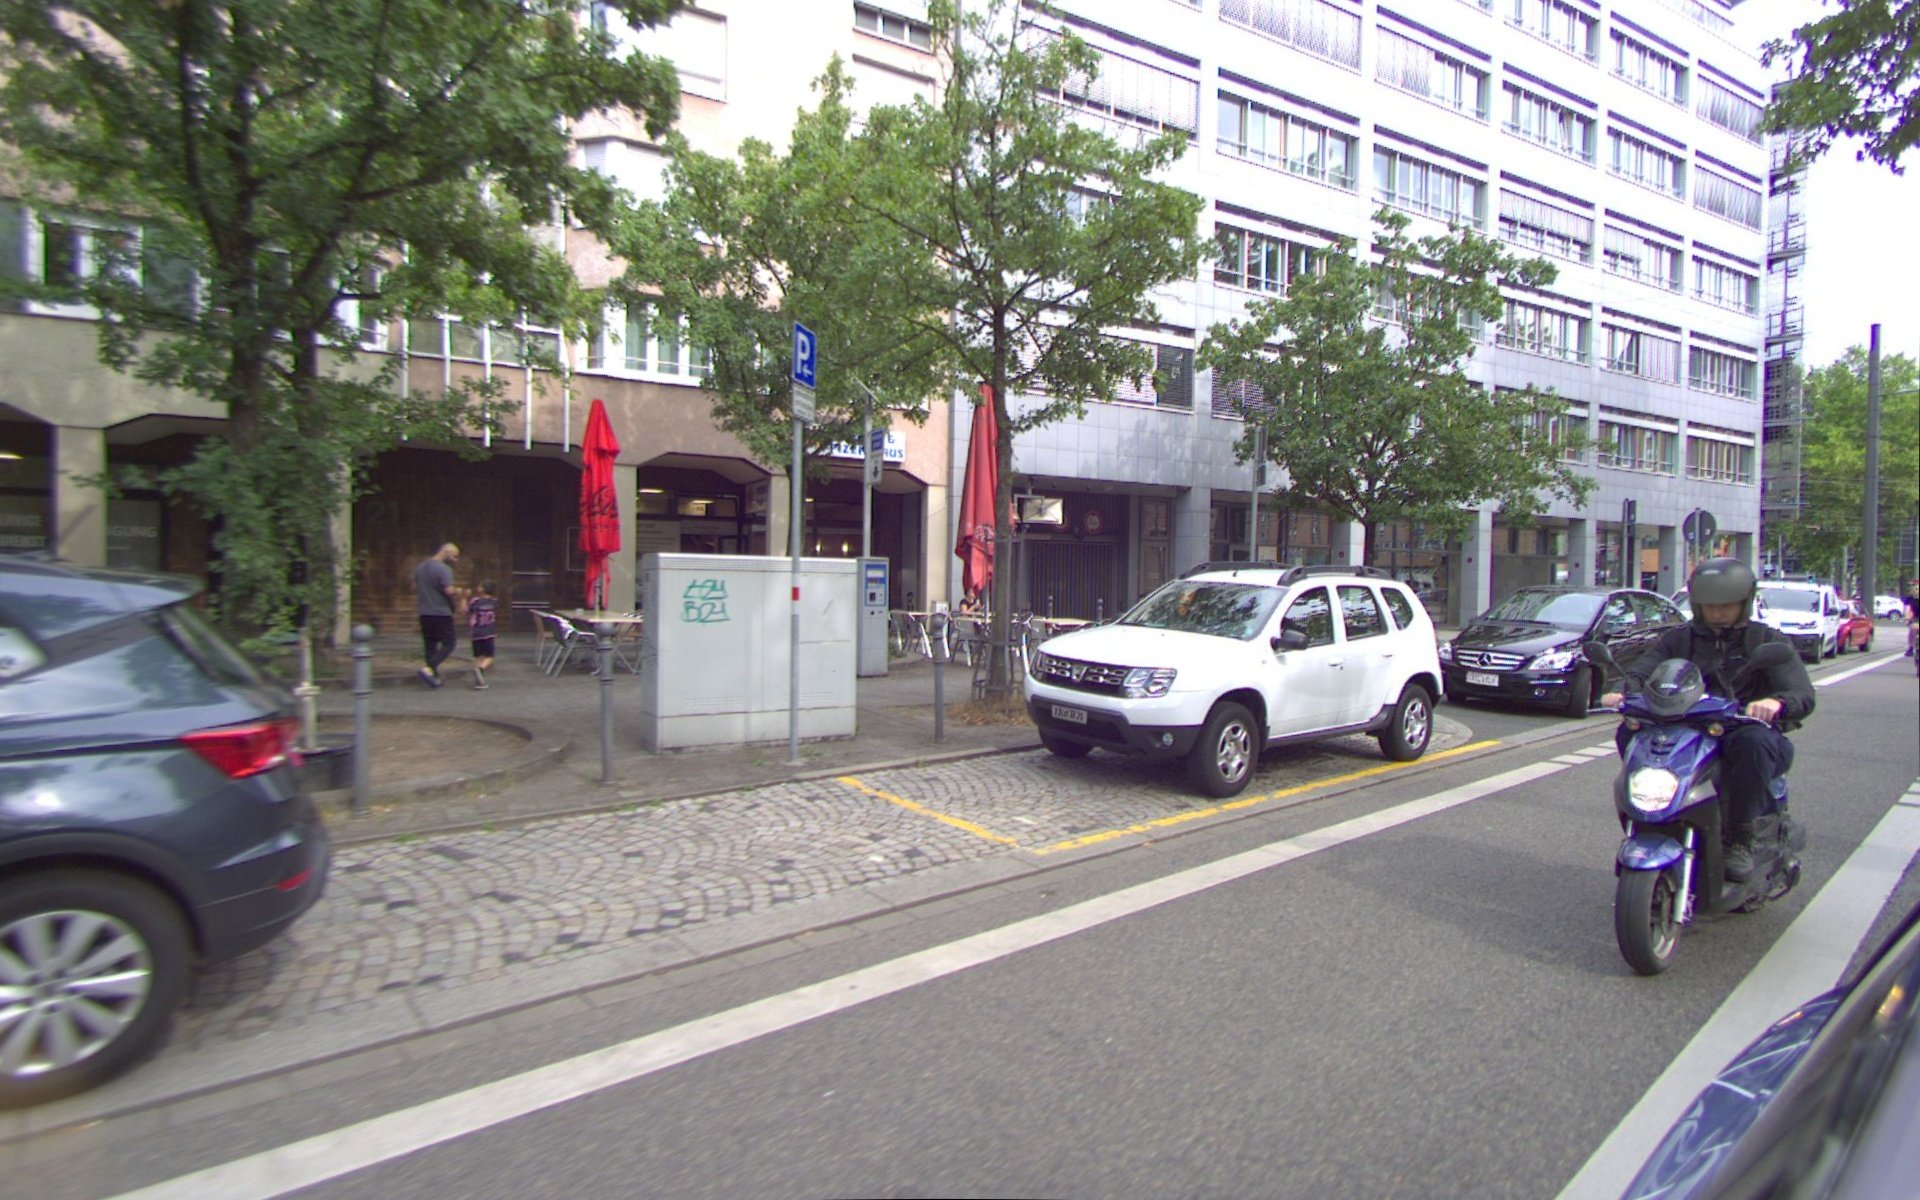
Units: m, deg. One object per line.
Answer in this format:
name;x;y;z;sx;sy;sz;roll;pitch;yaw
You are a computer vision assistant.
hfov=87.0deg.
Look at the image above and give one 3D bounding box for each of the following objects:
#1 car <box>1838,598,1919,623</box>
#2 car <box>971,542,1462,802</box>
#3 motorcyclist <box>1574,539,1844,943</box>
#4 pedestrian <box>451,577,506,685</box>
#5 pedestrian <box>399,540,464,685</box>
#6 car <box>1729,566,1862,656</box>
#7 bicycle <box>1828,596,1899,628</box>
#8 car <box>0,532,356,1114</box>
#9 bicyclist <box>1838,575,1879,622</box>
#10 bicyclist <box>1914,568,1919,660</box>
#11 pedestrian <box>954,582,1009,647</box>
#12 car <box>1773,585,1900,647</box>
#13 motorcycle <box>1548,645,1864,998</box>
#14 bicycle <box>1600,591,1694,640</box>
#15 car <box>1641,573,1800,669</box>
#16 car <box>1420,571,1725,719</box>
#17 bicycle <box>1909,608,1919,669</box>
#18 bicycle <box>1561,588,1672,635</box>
car;64.744;0.722;70.820;4.582;1.682;1.951;0;0;21
car;2.282;0.429;8.512;4.087;1.673;1.867;0;2;-38
motorcyclist;3.303;0.517;4.457;1.000;1.538;0.760;-1;2;-43
pedestrian;-5.456;0.343;11.488;0.447;1.191;0.518;1;1;-12
pedestrian;-5.942;0.131;11.395;0.470;1.589;0.518;1;1;-5
car;19.884;0.215;24.028;4.570;1.887;1.829;0;3;-44
bicycle;35.241;0.443;39.493;0.711;1.153;1.909;1;2;-23
car;-4.037;0.556;2.487;4.132;1.537;1.718;0;3;-42
bicyclist;35.184;-0.067;39.636;0.704;1.786;0.918;1;1;-23
bicyclist;19.169;0.276;19.804;1.017;1.790;0.591;0;1;-41
pedestrian;0.402;0.266;18.974;0.685;1.171;0.824;1;1;-29
car;24.034;0.409;27.703;4.174;1.450;1.728;0;4;-37
motorcycle;3.493;0.837;4.644;2.171;1.121;0.768;-1;2;-43
bicycle;18.563;0.397;27.386;0.470;1.212;2.063;1;1;-33
car;15.506;0.359;20.535;1.996;1.622;4.511;6;4;43
car;8.091;0.497;13.259;4.222;1.596;1.782;0;3;-35
bicycle;19.110;0.737;19.769;2.054;1.153;0.595;0;2;-41
bicycle;19.218;0.312;29.687;0.643;1.274;2.638;1;1;-40
